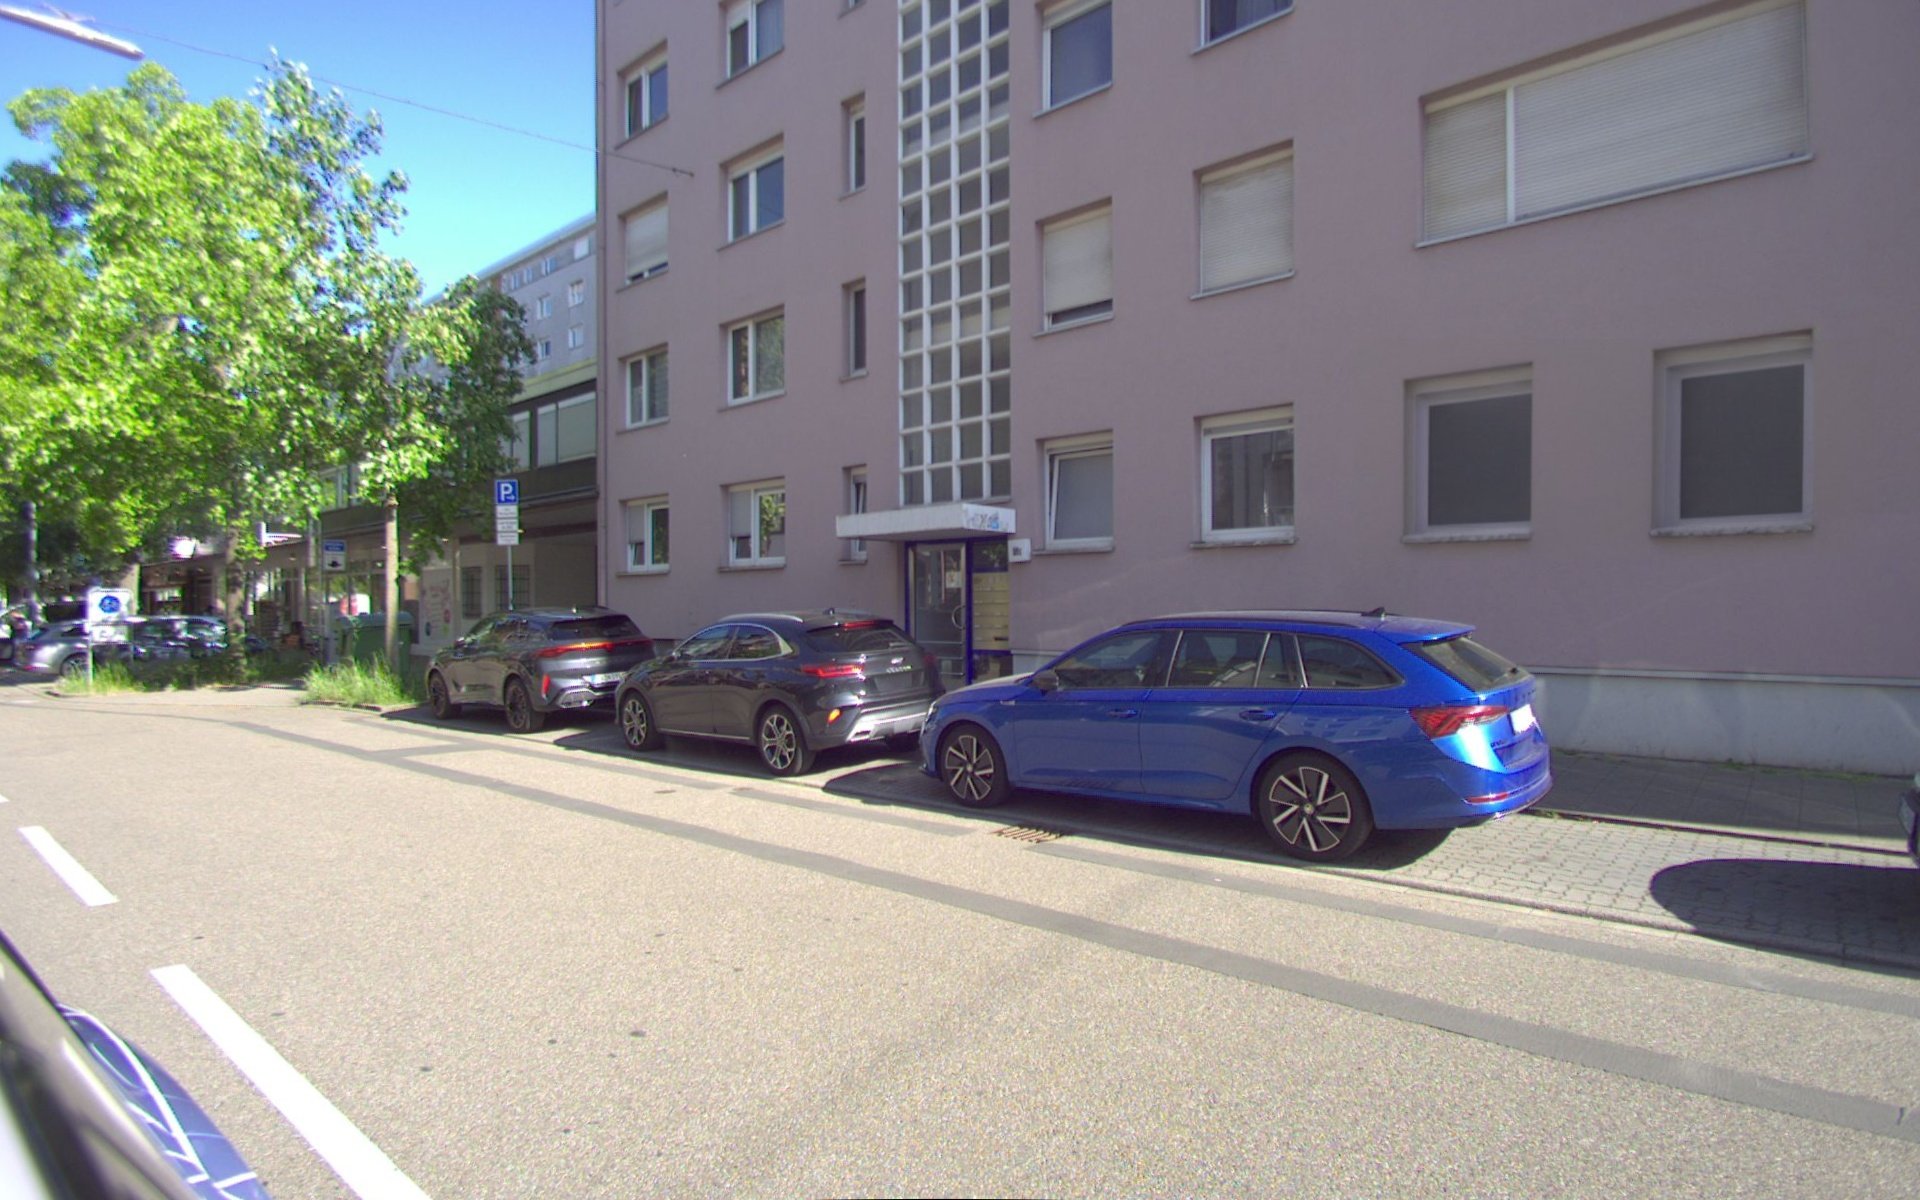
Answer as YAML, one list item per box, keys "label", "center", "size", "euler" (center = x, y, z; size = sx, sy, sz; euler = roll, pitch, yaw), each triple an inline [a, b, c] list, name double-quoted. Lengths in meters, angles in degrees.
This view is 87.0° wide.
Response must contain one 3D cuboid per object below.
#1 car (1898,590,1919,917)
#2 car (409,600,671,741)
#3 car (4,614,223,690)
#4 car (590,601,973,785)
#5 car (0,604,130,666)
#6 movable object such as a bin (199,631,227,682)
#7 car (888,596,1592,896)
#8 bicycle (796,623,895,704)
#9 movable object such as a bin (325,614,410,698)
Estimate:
- label: "car"
  center: [6.323, 0.675, 3.206]
  size: [4.812, 1.476, 1.700]
  euler: [-1, 1, 41]
- label: "car"
  center: [-6.047, 0.892, 14.336]
  size: [4.141, 1.604, 1.798]
  euler: [-1, 2, 43]
- label: "car"
  center: [-20.966, 1.226, 25.173]
  size: [1.999, 1.687, 3.945]
  euler: [-1, -1, 41]
- label: "car"
  center: [-2.050, 0.839, 10.812]
  size: [4.245, 1.519, 1.798]
  euler: [-1, 1, 43]
- label: "car"
  center: [-31.278, 1.170, 34.831]
  size: [1.999, 2.047, 3.945]
  euler: [-1, -1, 41]
- label: "movable object such as a bin"
  center: [-18.482, 1.382, 25.027]
  size: [0.409, 1.234, 0.482]
  euler: [-1, -1, 41]
- label: "car"
  center: [1.726, 0.778, 7.314]
  size: [4.610, 1.476, 1.700]
  euler: [-1, 1, 41]
- label: "bicycle"
  center: [-1.683, 0.894, 14.716]
  size: [1.649, 1.084, 0.386]
  euler: [-1, 3, 42]
- label: "movable object such as a bin"
  center: [-11.570, 1.063, 19.778]
  size: [1.230, 1.557, 1.019]
  euler: [0, -1, -44]
